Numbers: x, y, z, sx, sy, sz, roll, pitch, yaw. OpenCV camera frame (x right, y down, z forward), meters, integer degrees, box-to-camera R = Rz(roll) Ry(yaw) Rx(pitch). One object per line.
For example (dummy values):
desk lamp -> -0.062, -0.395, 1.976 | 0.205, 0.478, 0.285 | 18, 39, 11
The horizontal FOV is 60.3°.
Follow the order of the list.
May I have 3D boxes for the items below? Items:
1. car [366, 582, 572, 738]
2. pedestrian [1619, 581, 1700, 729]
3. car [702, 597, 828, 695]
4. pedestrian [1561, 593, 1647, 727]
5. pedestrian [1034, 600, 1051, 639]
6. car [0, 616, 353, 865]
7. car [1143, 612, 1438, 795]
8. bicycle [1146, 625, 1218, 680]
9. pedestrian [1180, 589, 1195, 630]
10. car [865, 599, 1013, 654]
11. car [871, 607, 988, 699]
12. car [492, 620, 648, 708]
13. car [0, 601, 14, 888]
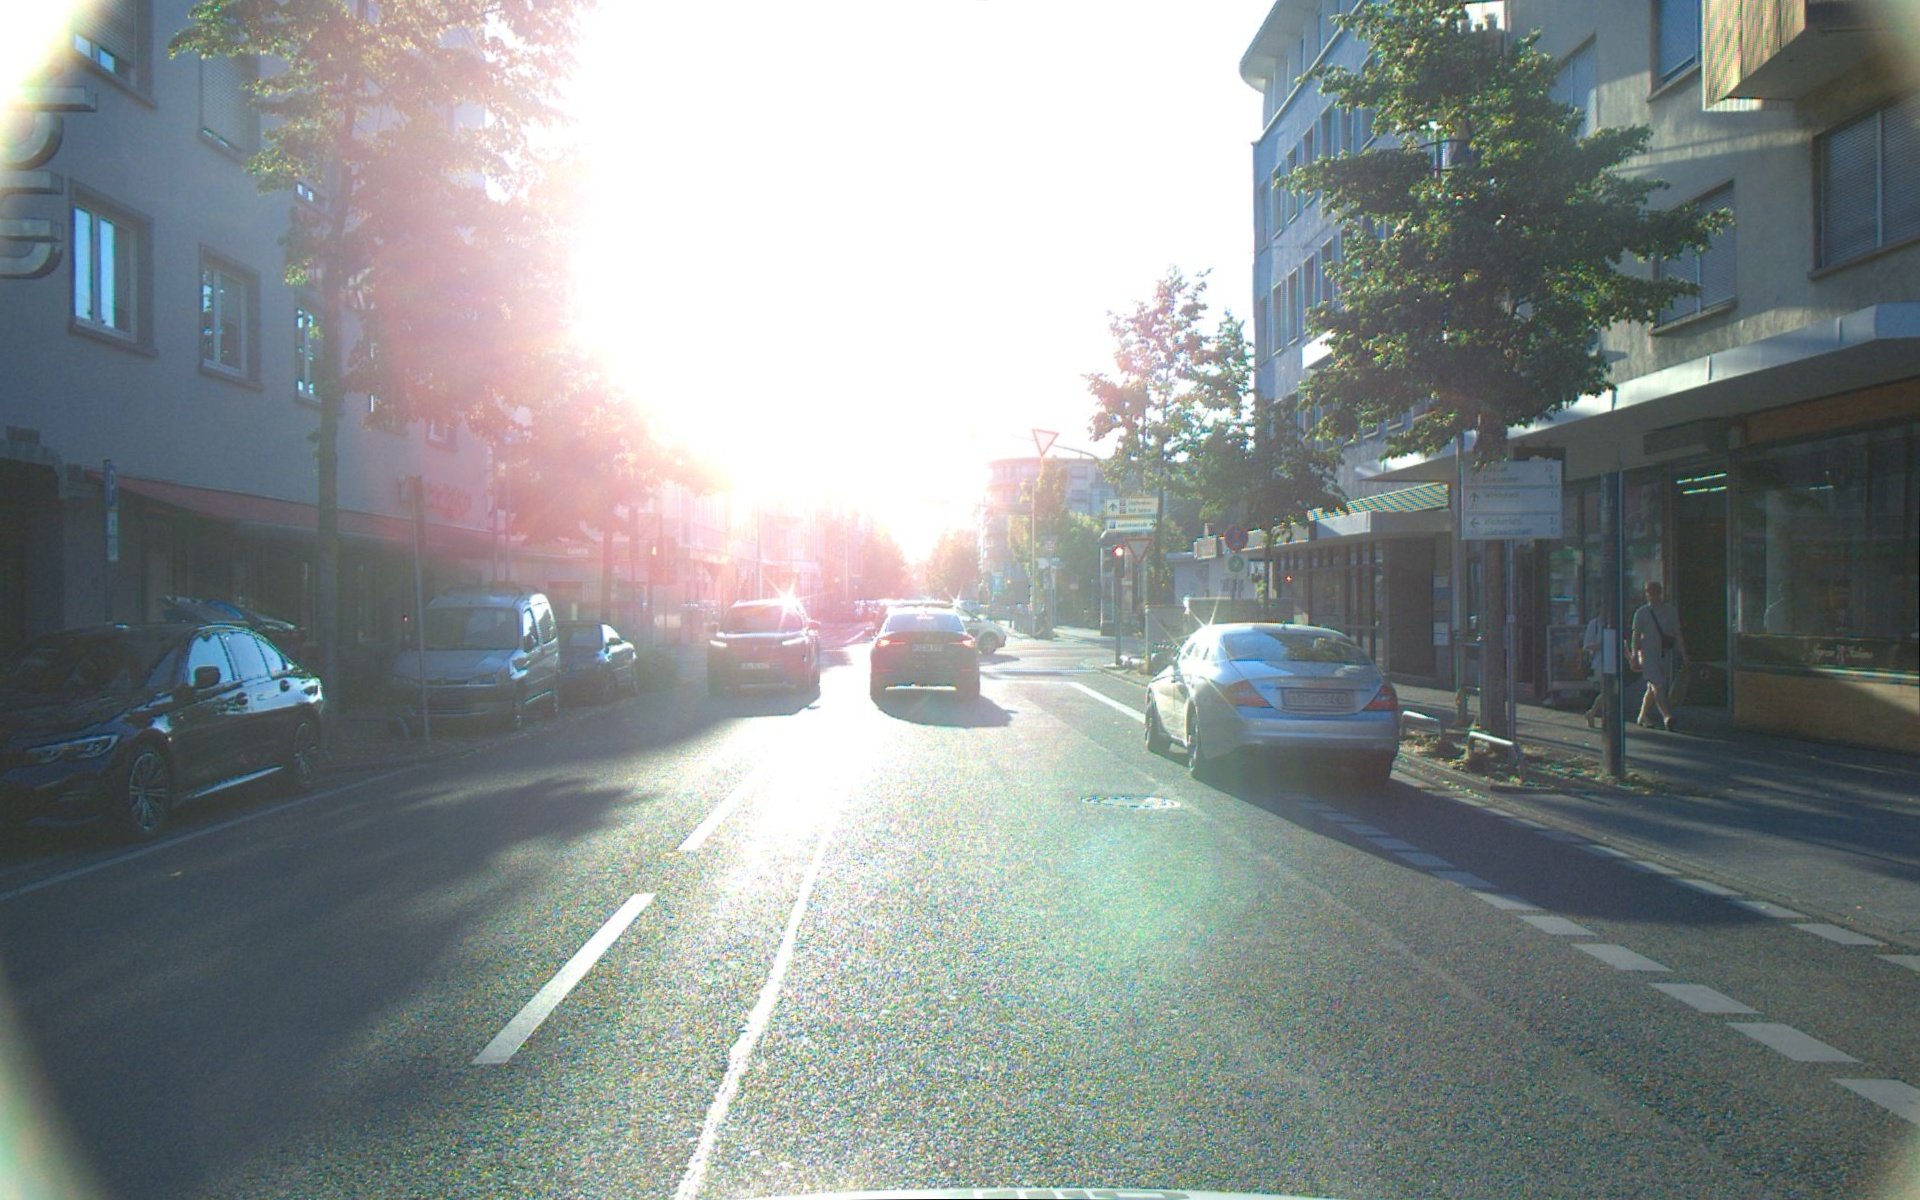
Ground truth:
car -> -6.424, 0.734, 22.083 | 1.797, 1.887, 4.120 | 0, 0, -4
pedestrian -> 8.473, 0.659, 20.055 | 0.673, 1.752, 0.717 | -1, 0, 5
car -> -3.542, 0.795, 30.737 | 1.883, 1.630, 4.325 | 0, 1, -1
pedestrian -> 7.830, 0.715, 20.132 | 0.674, 1.586, 0.862 | 0, 0, -3
pedestrian -> 3.654, 0.861, 73.377 | 0.566, 1.673, 0.524 | 0, 1, -23
car -> -6.254, 0.905, 12.345 | 1.790, 1.464, 4.552 | -2, 0, -1
car -> 3.032, 0.886, 16.189 | 1.883, 1.440, 4.547 | 2, 0, -1
bicycle -> 4.896, 1.152, 36.541 | 1.507, 1.165, 0.381 | 1, 1, 0
pedestrian -> 9.947, 0.411, 72.344 | 0.488, 1.745, 0.459 | 0, 1, -21
car -> -0.652, 0.801, 51.891 | 4.259, 1.630, 1.912 | 0, 1, -27
car -> -0.513, 0.855, 28.520 | 1.845, 1.440, 4.324 | 1, 0, -1
car -> -6.481, 1.024, 27.920 | 1.796, 1.351, 4.122 | 0, -1, -2
car -> -6.211, 0.840, 6.687 | 1.790, 1.583, 5.135 | -2, 0, 0
